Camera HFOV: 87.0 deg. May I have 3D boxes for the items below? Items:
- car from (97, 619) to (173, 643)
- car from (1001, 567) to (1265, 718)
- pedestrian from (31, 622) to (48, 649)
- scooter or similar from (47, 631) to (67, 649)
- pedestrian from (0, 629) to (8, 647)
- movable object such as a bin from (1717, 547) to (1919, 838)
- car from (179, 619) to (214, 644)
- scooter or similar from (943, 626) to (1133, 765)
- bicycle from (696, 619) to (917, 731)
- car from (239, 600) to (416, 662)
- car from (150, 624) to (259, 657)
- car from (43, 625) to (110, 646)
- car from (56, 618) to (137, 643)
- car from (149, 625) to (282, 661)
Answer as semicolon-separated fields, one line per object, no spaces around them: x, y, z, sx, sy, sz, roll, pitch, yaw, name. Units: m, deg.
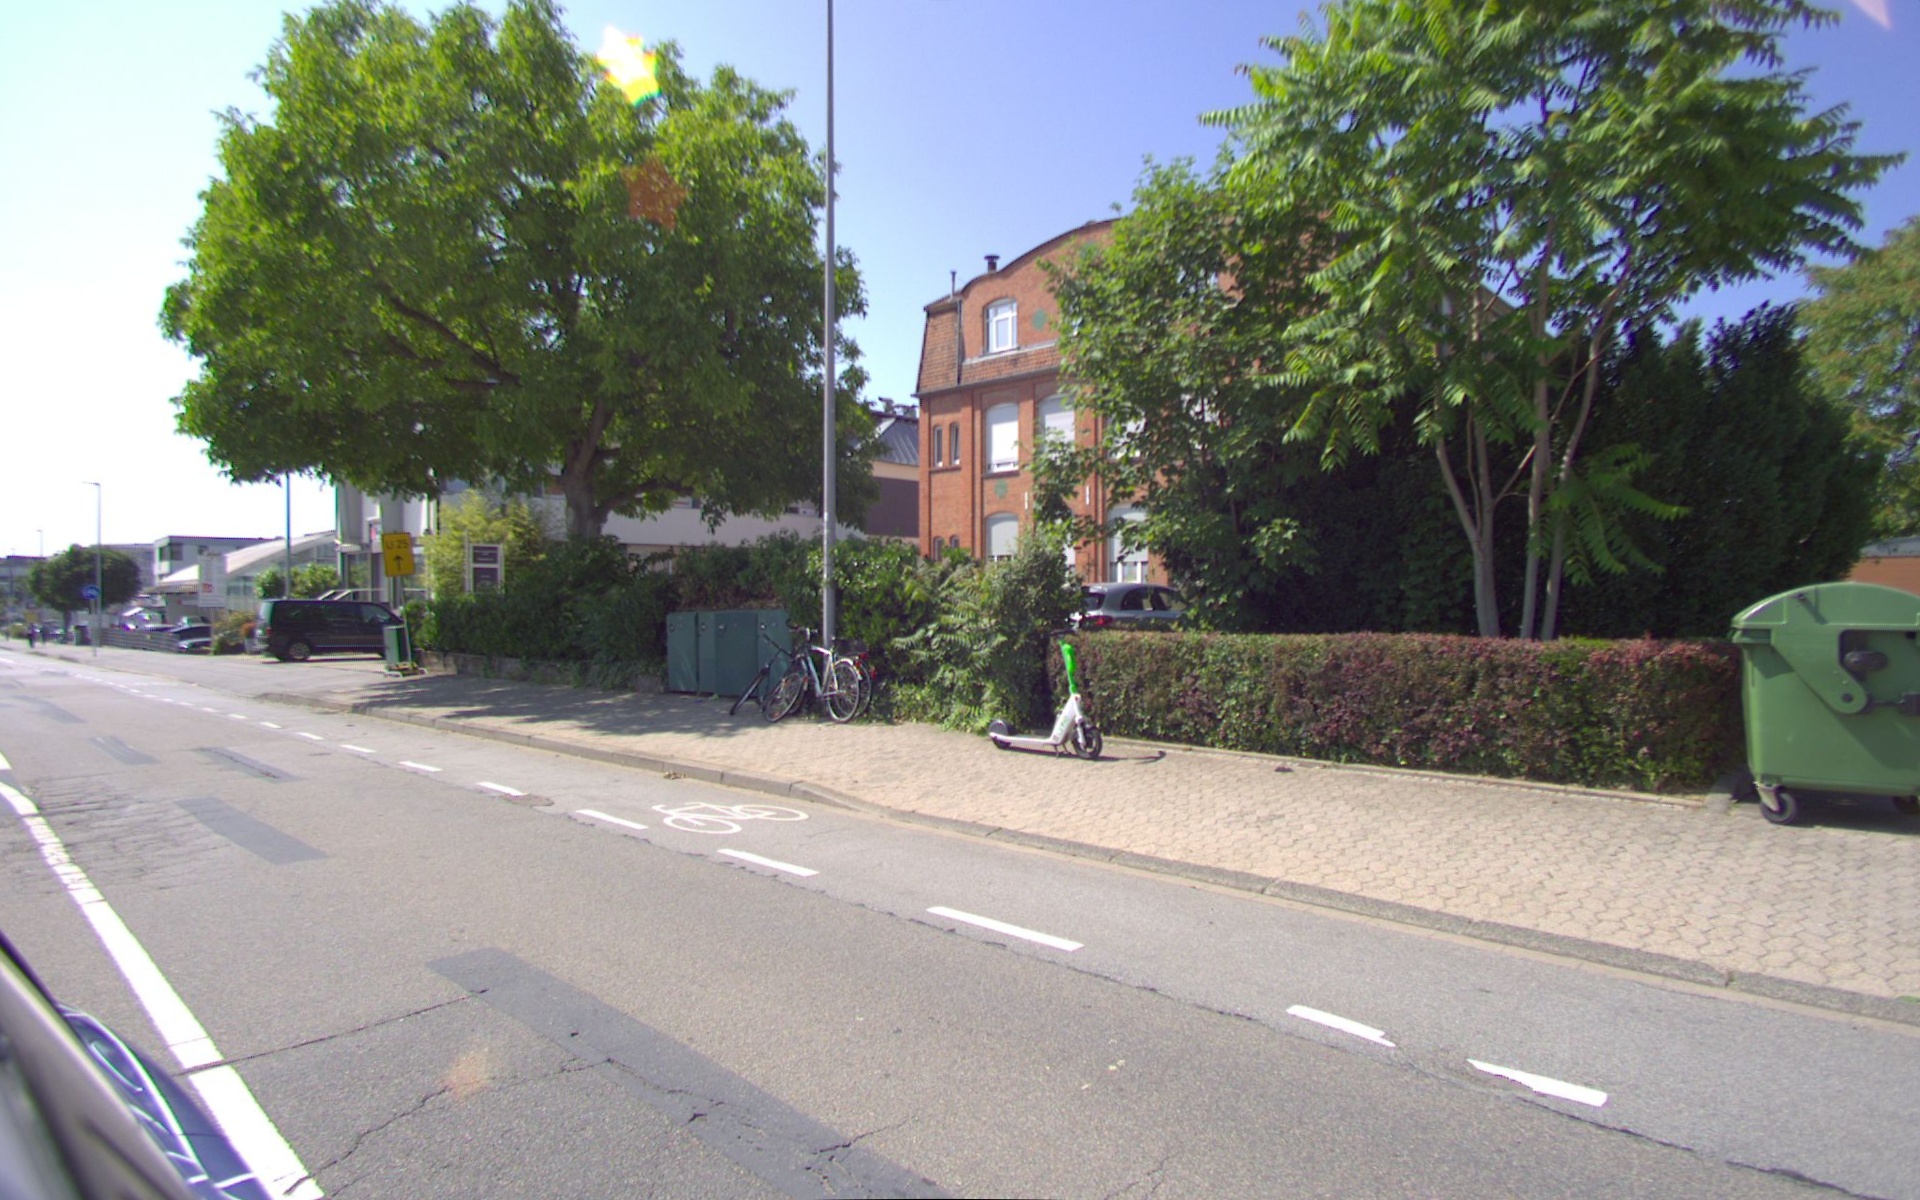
-59.271;2.202;72.788;1.840;1.562;3.984;-2;0;12;car
2.553;0.649;14.401;3.720;1.855;1.788;5;-4;-43;car
-64.751;2.475;71.183;0.910;1.862;0.716;-2;-1;38;pedestrian
-64.976;2.845;72.835;1.487;1.257;0.737;-2;0;36;scooter or similar
-90.785;3.583;95.689;0.981;1.698;0.801;0;-1;-36;pedestrian
5.561;0.515;6.260;1.304;1.602;1.436;-2;-1;35;movable object such as a bin
-56.522;2.308;74.860;1.968;1.696;4.008;-1;0;-38;car
0.698;0.835;9.346;1.620;1.136;0.641;-2;2;37;scooter or similar
-1.893;0.834;12.152;2.764;1.126;1.016;-1;3;41;bicycle
-20.453;0.981;32.843;2.093;1.880;4.515;-2;-2;44;car
-39.807;2.087;53.406;1.993;1.570;4.253;-2;-1;39;car
-73.025;2.929;83.712;1.881;1.470;4.161;-2;1;0;car
-64.932;2.256;76.185;1.837;1.709;4.569;-2;0;8;car
-34.624;1.961;47.174;2.047;1.492;4.689;-2;-1;42;car
